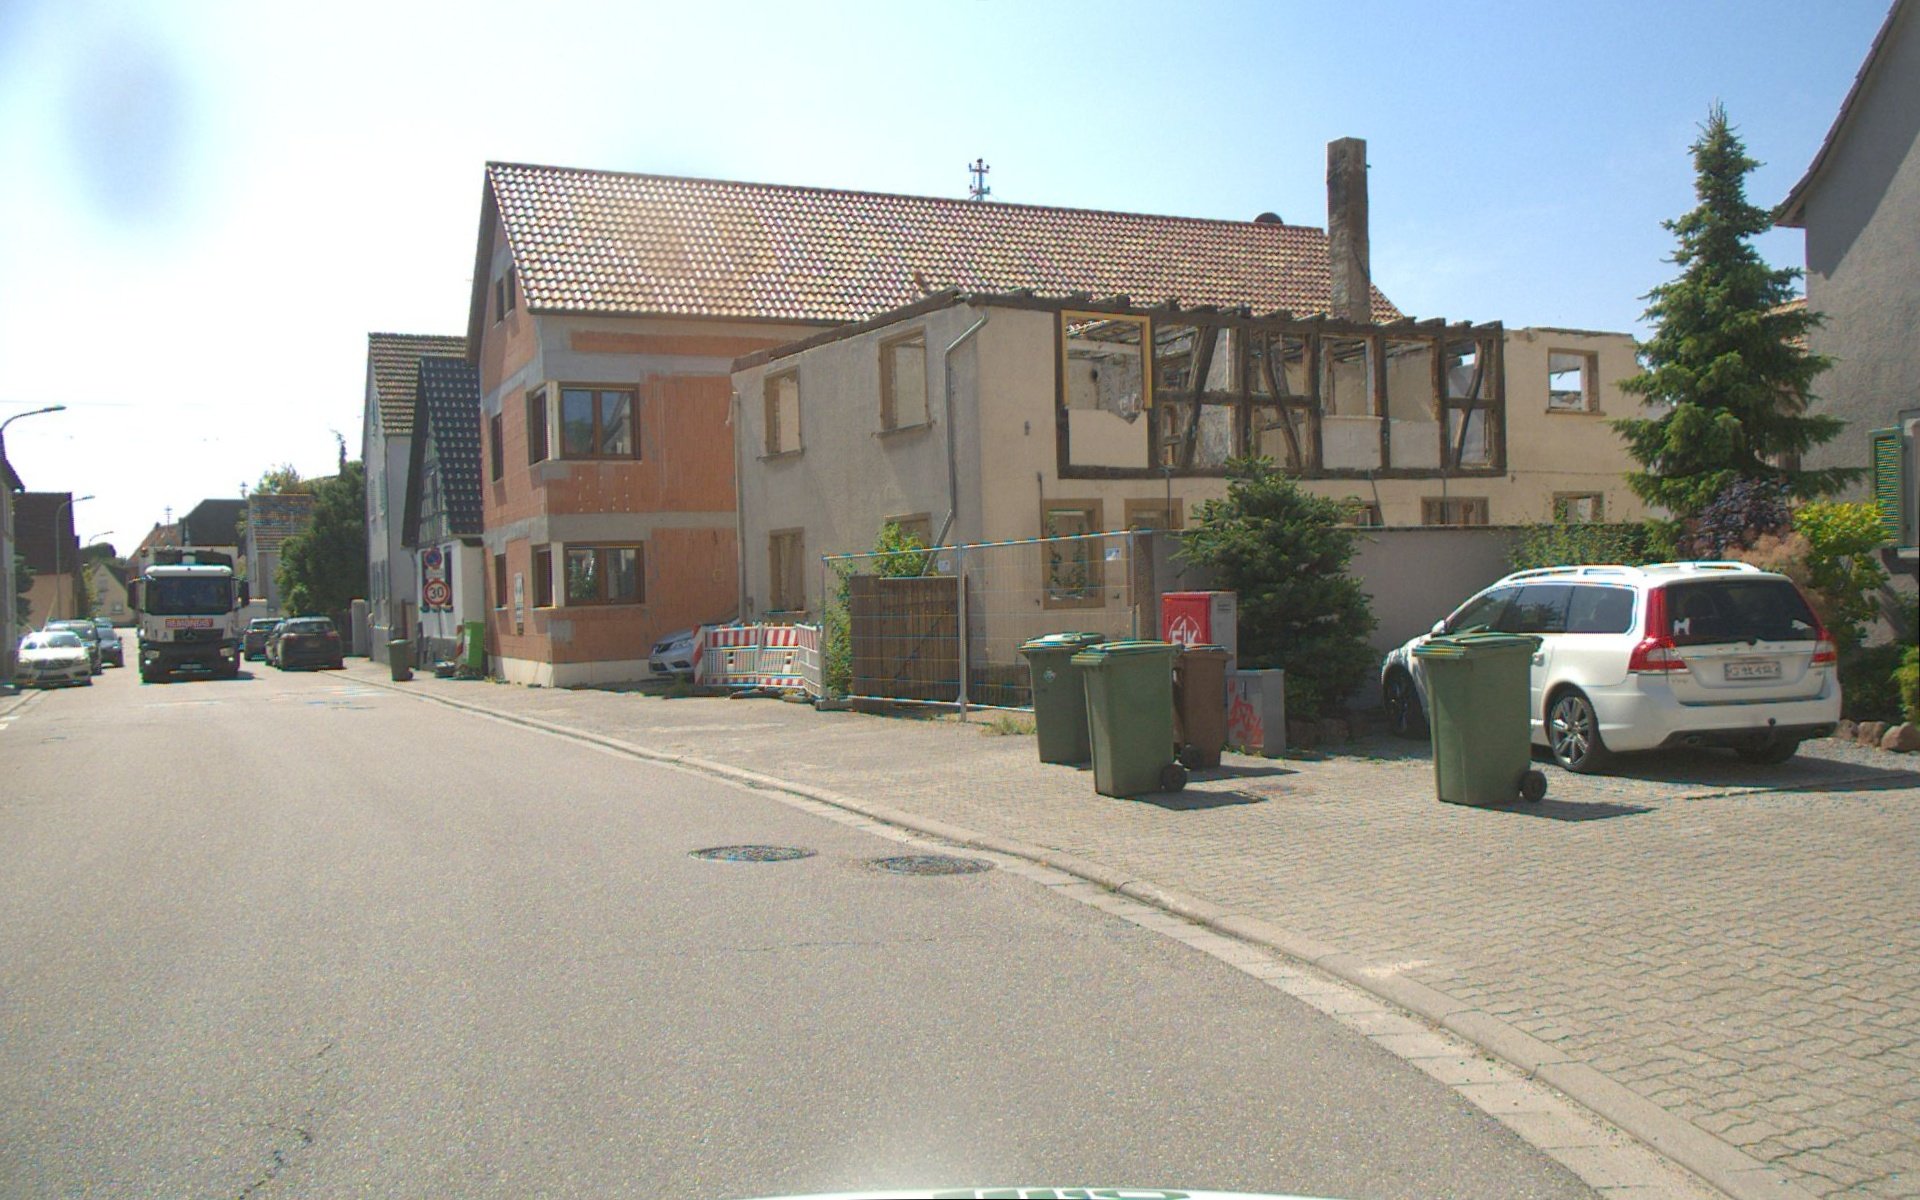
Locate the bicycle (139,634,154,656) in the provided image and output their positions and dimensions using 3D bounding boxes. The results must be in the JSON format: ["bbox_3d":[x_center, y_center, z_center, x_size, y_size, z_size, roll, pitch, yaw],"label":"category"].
[{"bbox_3d":[-44.434,2.457,90.352,0.583,1.168,1.929,-2,0,-30],"label":"bicycle"}]

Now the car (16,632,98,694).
[{"bbox_3d":[-24.310,1.653,44.476,1.815,1.489,4.227,-3,0,-30],"label":"car"}]

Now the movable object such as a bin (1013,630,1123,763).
[{"bbox_3d":[0.944,0.822,14.370,0.658,1.091,0.760,-2,0,31],"label":"movable object such as a bin"}]

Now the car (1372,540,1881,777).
[{"bbox_3d":[5.157,0.398,13.530,1.778,1.555,4.284,-2,0,-11],"label":"car"}]

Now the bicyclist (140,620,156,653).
[{"bbox_3d":[-44.413,1.989,90.437,0.696,1.802,0.619,-2,0,-28],"label":"bicyclist"}]

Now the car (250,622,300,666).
[{"bbox_3d":[-27.850,1.764,67.176,1.770,1.659,4.329,-2,0,-23],"label":"car"}]

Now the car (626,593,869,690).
[{"bbox_3d":[-3.921,0.738,30.640,4.050,1.533,1.849,-3,0,-33],"label":"car"}]

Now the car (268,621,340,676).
[{"bbox_3d":[-20.844,1.528,52.444,1.776,1.587,4.592,-2,-1,-26],"label":"car"}]

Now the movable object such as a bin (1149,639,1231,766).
[{"bbox_3d":[1.861,0.817,13.387,0.458,0.987,0.493,-2,0,-20],"label":"movable object such as a bin"}]

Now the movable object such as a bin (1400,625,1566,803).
[{"bbox_3d":[3.450,0.726,10.946,0.710,1.100,0.750,-2,0,-22],"label":"movable object such as a bin"}]

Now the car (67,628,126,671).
[{"bbox_3d":[-33.881,1.914,64.993,1.822,1.553,4.726,-2,0,-26],"label":"car"}]

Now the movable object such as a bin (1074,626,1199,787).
[{"bbox_3d":[1.286,0.760,12.114,0.676,1.111,0.634,-2,0,-19],"label":"movable object such as a bin"}]

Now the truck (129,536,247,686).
[{"bbox_3d":[-22.338,0.327,48.040,2.661,3.815,10.784,-2,0,-24],"label":"truck"}]

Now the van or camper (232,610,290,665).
[{"bbox_3d":[-37.605,2.012,88.968,2.493,2.744,4.514,-2,-1,-27],"label":"van or camper"}]

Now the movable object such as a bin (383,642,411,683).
[{"bbox_3d":[-13.399,1.489,39.372,0.528,0.929,0.550,-2,-1,-10],"label":"movable object such as a bin"}]
